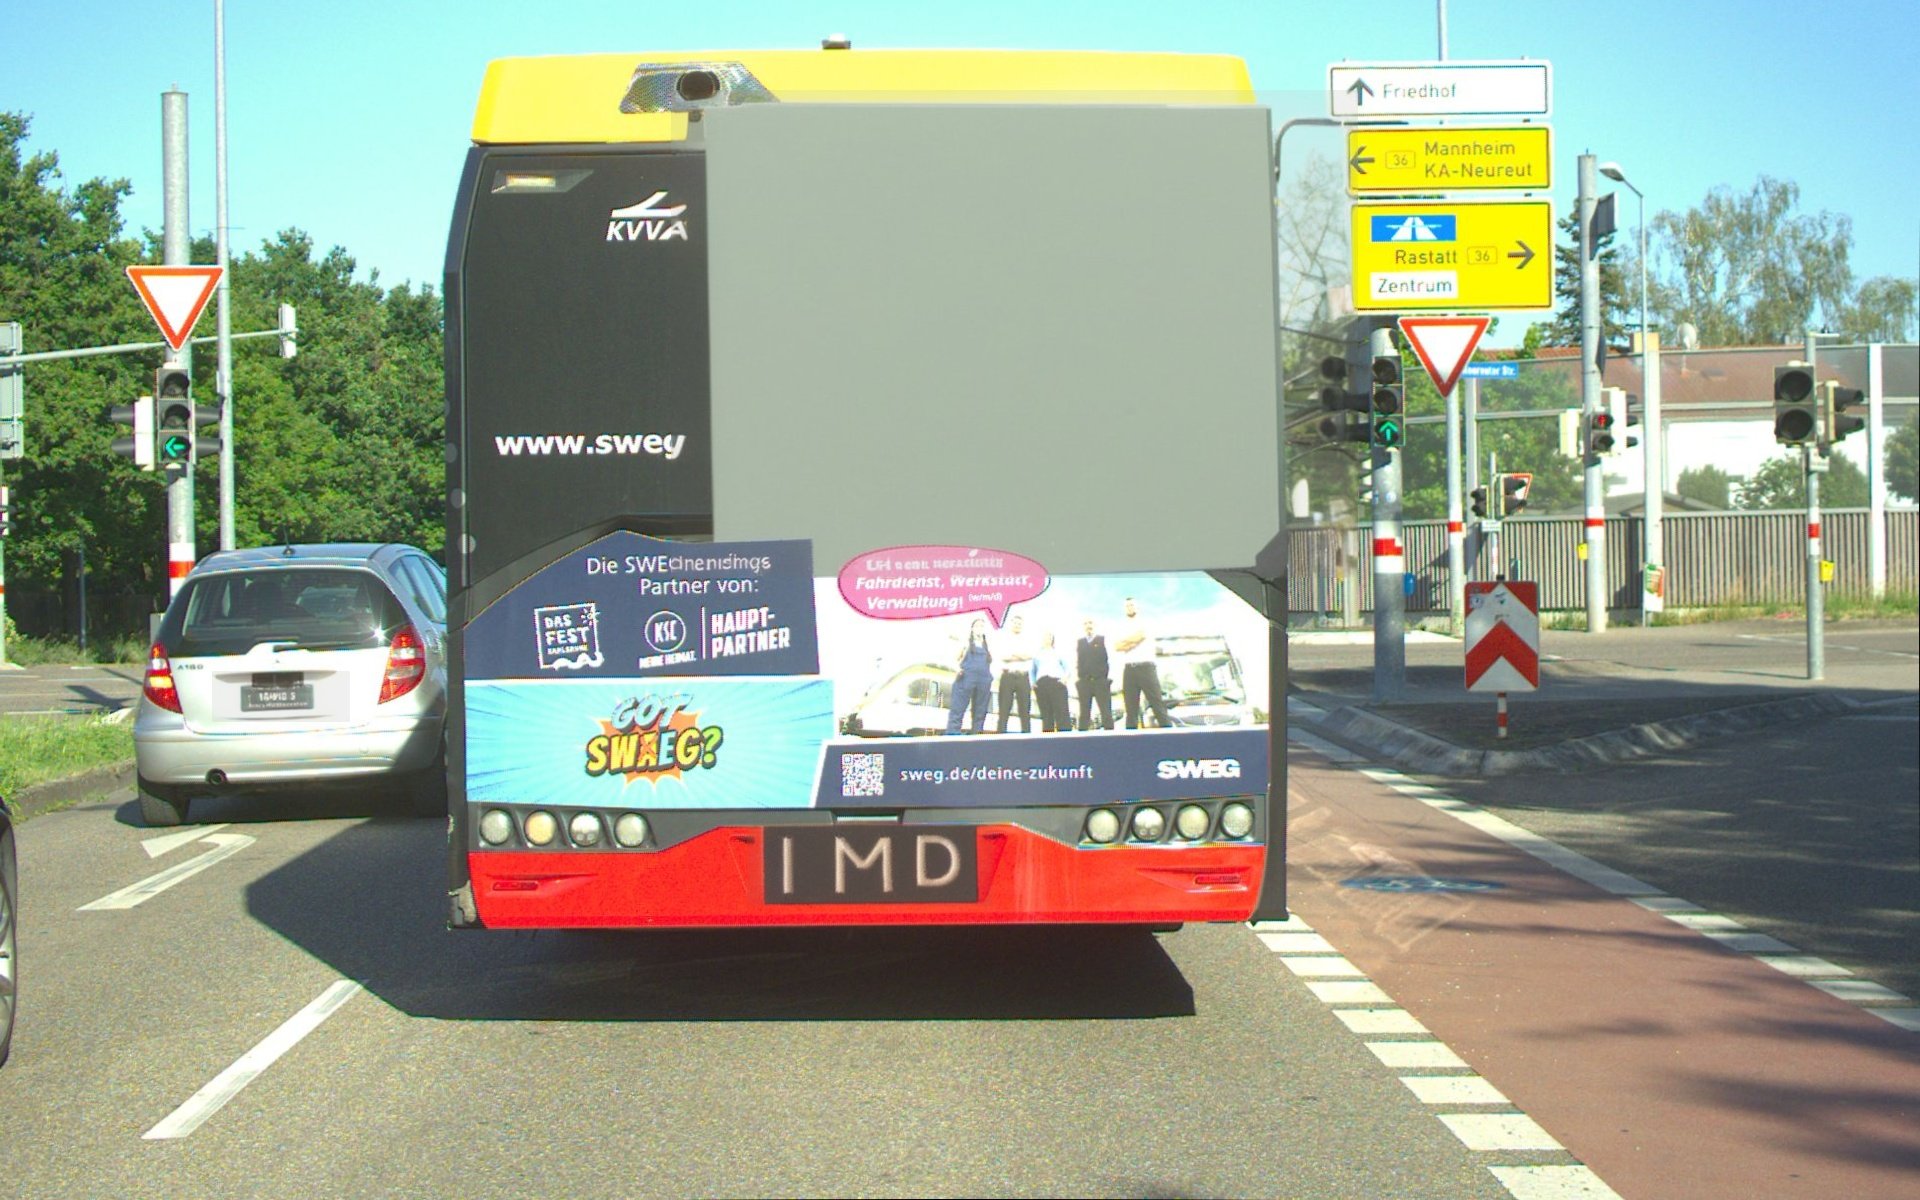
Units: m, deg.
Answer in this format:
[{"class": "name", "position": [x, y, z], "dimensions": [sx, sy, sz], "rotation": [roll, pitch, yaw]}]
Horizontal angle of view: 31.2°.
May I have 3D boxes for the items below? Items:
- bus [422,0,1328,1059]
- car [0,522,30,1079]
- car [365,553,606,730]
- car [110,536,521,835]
[{"class": "bus", "position": [-0.268, -0.353, 16.010], "dimensions": [2.642, 3.156, 11.861], "rotation": [0, 1, 0]}, {"class": "car", "position": [-3.699, 0.646, 8.485], "dimensions": [1.772, 1.648, 4.000], "rotation": [-2, 1, -2]}, {"class": "car", "position": [-4.251, 0.330, 31.283], "dimensions": [1.692, 1.453, 3.751], "rotation": [-2, 1, -1]}, {"class": "car", "position": [-3.797, 0.443, 20.903], "dimensions": [1.761, 1.584, 4.000], "rotation": [-2, 1, -1]}]
